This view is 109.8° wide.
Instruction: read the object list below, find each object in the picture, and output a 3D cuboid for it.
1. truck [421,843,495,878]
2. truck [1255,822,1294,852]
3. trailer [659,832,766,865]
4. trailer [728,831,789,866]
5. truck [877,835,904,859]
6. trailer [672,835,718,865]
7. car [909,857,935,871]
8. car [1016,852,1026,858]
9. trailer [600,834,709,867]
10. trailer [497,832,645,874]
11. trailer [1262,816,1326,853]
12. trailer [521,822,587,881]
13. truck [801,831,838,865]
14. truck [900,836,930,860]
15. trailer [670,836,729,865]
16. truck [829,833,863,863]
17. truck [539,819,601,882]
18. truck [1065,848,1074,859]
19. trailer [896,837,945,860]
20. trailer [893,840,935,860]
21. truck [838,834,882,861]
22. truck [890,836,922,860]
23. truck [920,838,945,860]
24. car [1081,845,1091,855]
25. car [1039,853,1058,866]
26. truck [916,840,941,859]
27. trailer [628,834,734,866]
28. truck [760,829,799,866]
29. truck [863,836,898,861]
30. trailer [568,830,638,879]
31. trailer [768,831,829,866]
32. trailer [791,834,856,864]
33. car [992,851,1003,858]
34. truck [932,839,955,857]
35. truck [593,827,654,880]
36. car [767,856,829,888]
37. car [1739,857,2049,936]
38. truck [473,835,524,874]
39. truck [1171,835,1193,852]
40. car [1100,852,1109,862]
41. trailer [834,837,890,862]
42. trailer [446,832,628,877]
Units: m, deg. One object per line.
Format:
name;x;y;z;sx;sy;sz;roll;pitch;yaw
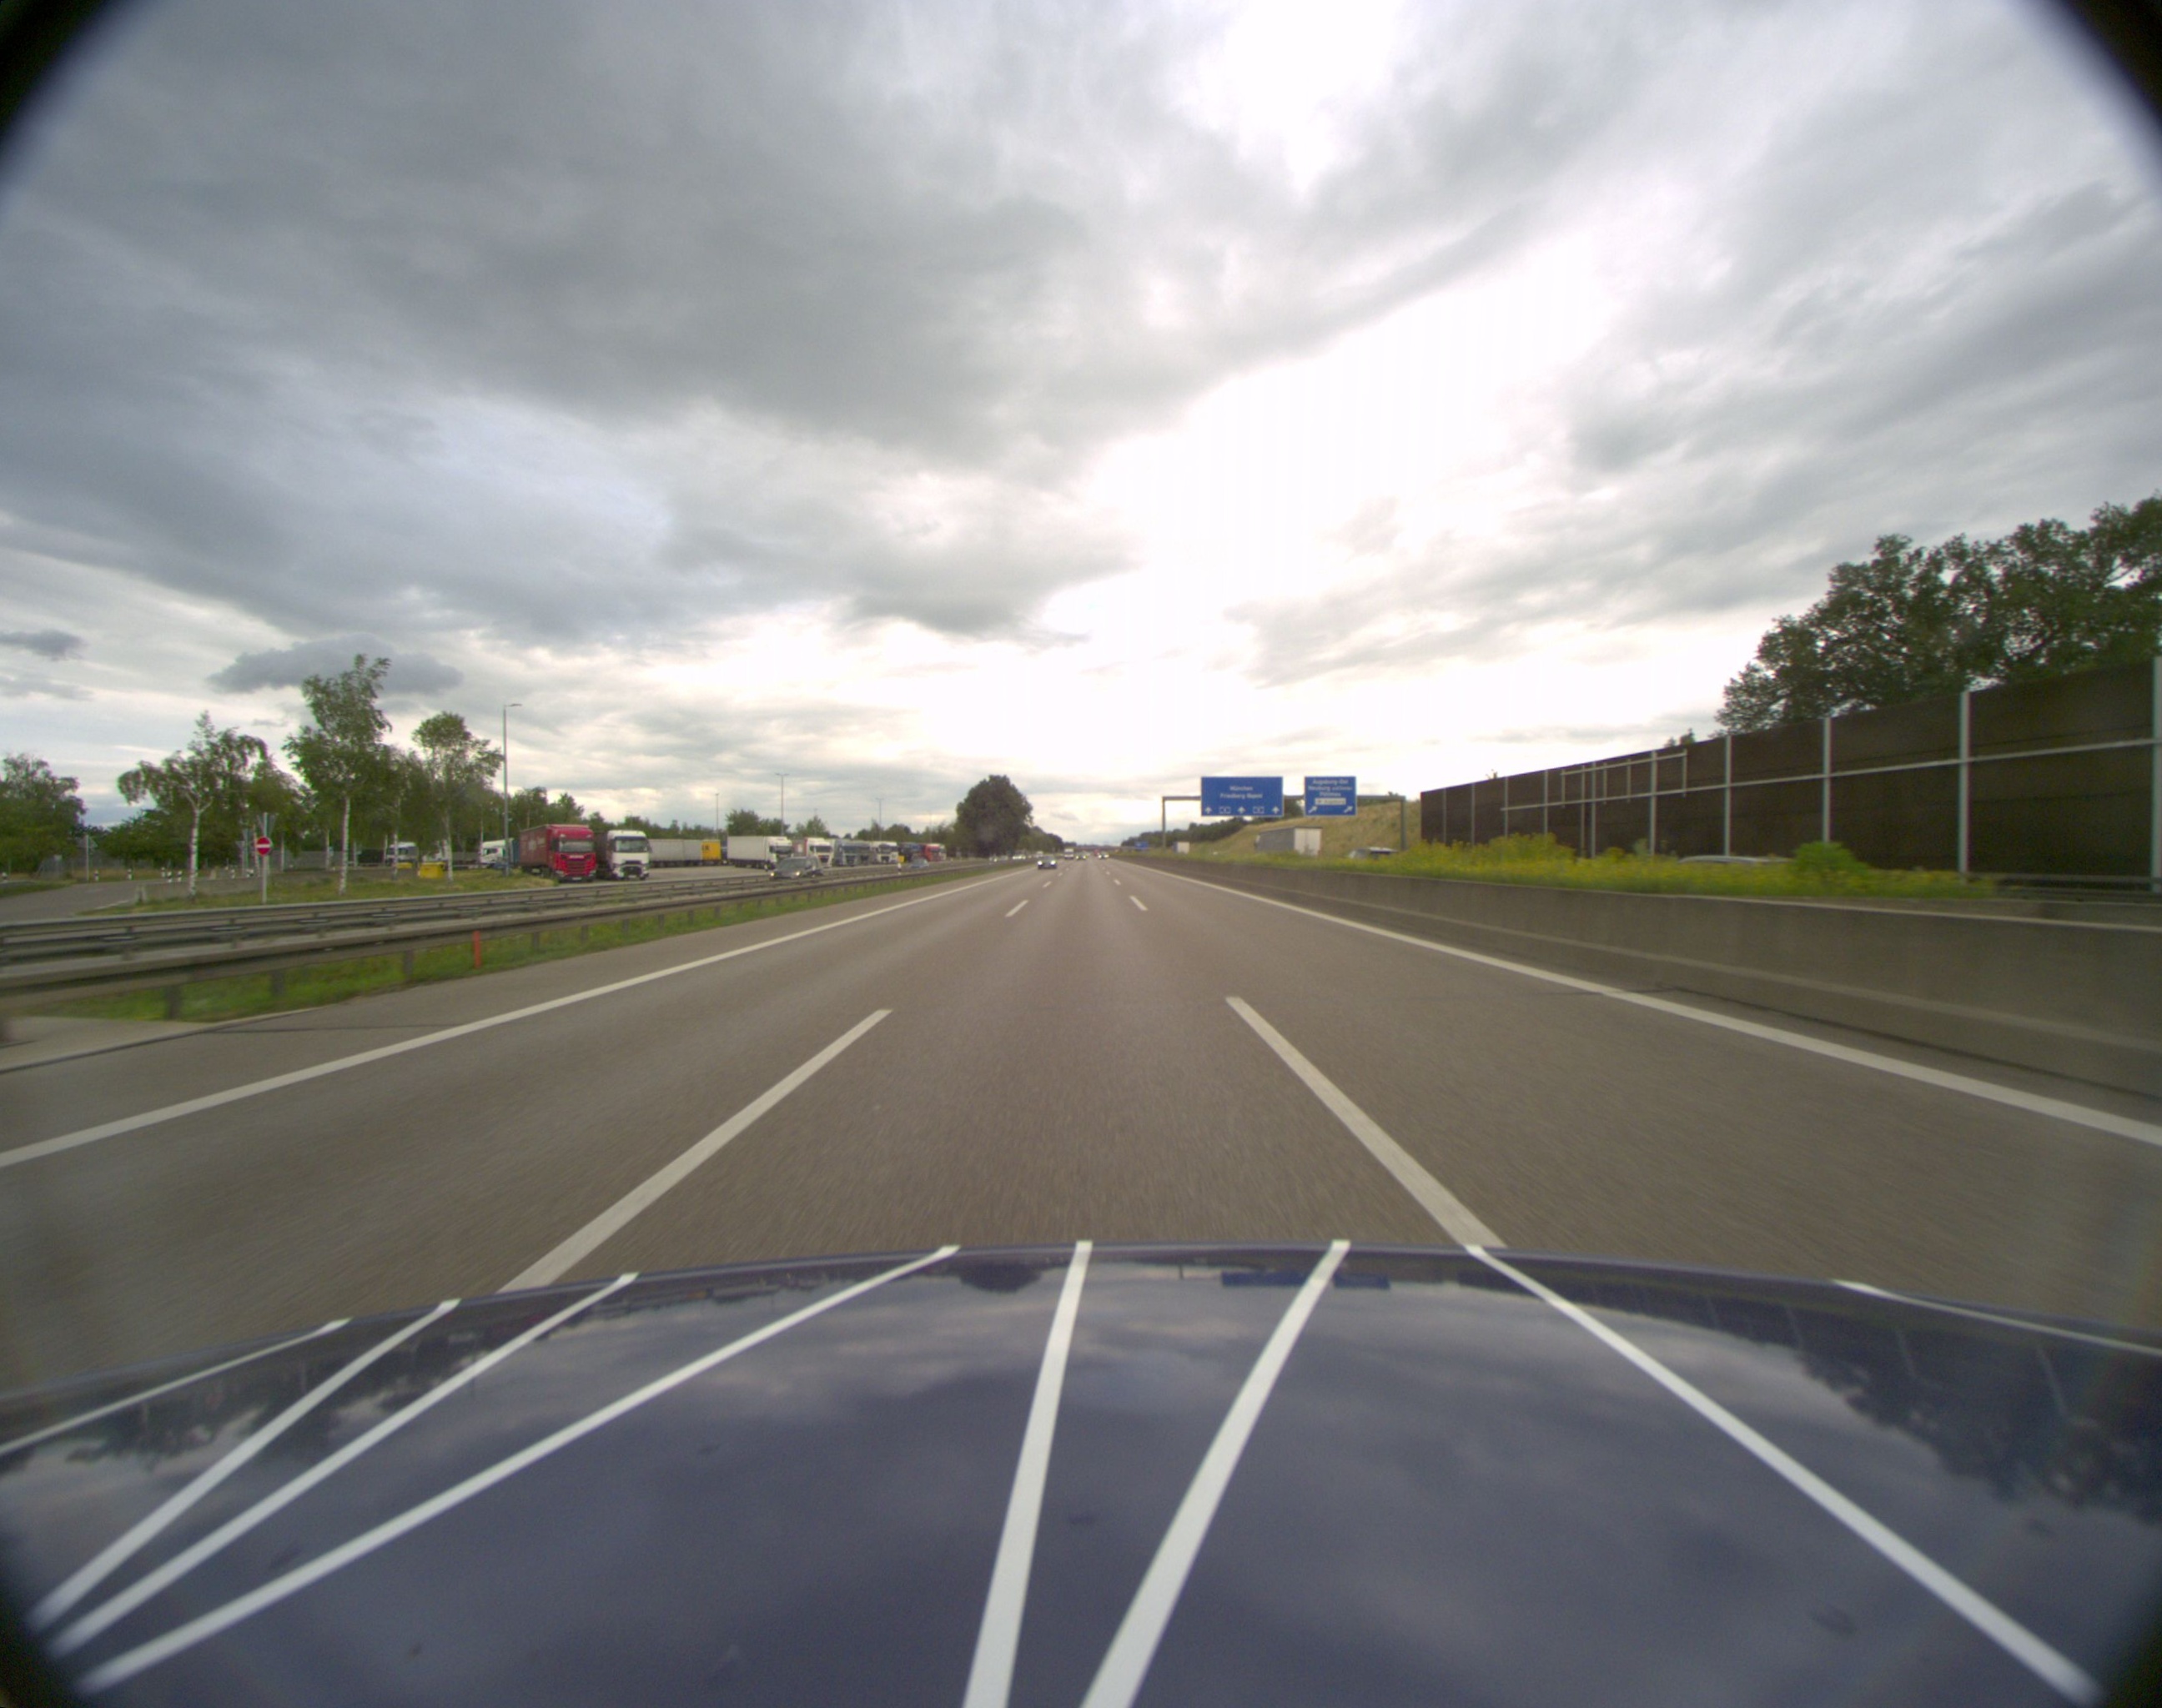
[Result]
truck;-66.940;0.718;81.710;2.650;3.420;5.641;-2;1;43
truck;21.330;-1.867;84.211;2.831;3.208;5.980;-1;1;1
trailer;-58.760;-1.034;121.729;15.078;4.616;2.866;-4;2;-45
trailer;-41.200;-0.618;96.650;2.618;4.051;13.507;-4;1;-43
truck;-34.520;-1.219;137.414;2.701;4.032;4.785;-4;2;-40
trailer;-56.558;-0.605;111.424;1.994;4.270;5.647;0;1;43
car;-16.546;1.057;79.209;1.796;1.251;3.545;-3;1;0
car;-14.422;0.250;182.855;1.828;1.236;3.877;-1;1;1
trailer;-68.021;-0.714;121.678;14.683;4.616;3.151;-4;1;-45
trailer;-61.720;-0.202;92.512;14.423;4.363;2.945;-4;1;-45
trailer;21.244;-1.901;76.746;2.827;3.357;13.508;-1;1;1
trailer;-41.431;-0.129;59.523;2.602;4.201;11.078;-4;2;-42
truck;-34.566;-0.768;100.471;2.516;4.303;4.892;-4;2;-44
truck;-33.490;-1.266;153.461;3.066;4.531;6.069;-4;2;-43
trailer;-58.201;-0.566;116.116;1.994;4.270;7.755;0;1;43
truck;-34.129;-0.885;110.237;2.645;4.108;4.782;-4;2;-45
truck;-36.519;-0.215;54.235;2.597;4.229;5.678;-4;2;-43
truck;-2.621;-0.092;174.361;1.998;2.483;5.869;-3;1;1
trailer;-36.161;-1.114;170.258;2.869;4.651;15.768;-4;1;-43
trailer;-39.082;-0.837;177.744;2.668;4.090;14.030;-4;1;-43
truck;-36.087;-1.094;123.944;3.554;4.061;7.634;-4;1;-42
truck;-34.003;-1.159;147.535;3.174;4.531;6.070;-4;2;-43
truck;-32.577;-1.157;166.378;2.883;4.598;5.158;-4;2;-44
car;1.081;-0.793;157.652;1.998;2.002;4.000;-1;1;1
car;-3.310;0.561;78.167;1.781;1.180;4.000;-1;1;1
truck;-34.779;-0.974;173.067;2.674;4.125;5.915;-4;2;-42
trailer;-55.929;-0.547;106.762;2.623;4.256;12.905;-2;-1;43
truck;-36.213;-0.754;91.205;2.619;4.111;4.521;-4;2;-43
truck;-34.939;-0.924;132.050;2.890;4.111;6.953;-4;1;-42
trailer;-41.039;0.029;64.916;2.753;3.819;13.171;-2;1;-42
trailer;-39.437;-0.615;105.635;2.482;4.371;14.105;-4;1;-43
trailer;-39.252;-0.687;115.291;14.656;4.061;2.663;-2;1;44
car;-15.123;0.148;137.852;1.465;1.208;4.000;-1;1;1
truck;-33.744;-1.462;186.596;2.831;4.037;6.433;-4;1;-38
truck;-35.389;-0.032;58.685;2.762;3.828;6.375;-2;1;-43
car;-16.450;1.006;44.430;1.832;1.747;4.594;-1;1;1
car;15.394;0.724;14.768;1.710;1.250;3.999;-1;0;-1
truck;-66.923;0.049;87.350;4.130;4.134;2.938;-4;2;-45
truck;22.178;-2.331;167.238;3.267;3.582;10.934;-1;1;0
car;5.296;0.669;174.041;1.998;2.002;4.000;-1;1;1
trailer;-39.874;-0.752;137.628;2.860;4.081;15.848;-4;1;-42
trailer;-61.810;-0.055;87.215;2.628;4.363;16.536;-2;1;43
